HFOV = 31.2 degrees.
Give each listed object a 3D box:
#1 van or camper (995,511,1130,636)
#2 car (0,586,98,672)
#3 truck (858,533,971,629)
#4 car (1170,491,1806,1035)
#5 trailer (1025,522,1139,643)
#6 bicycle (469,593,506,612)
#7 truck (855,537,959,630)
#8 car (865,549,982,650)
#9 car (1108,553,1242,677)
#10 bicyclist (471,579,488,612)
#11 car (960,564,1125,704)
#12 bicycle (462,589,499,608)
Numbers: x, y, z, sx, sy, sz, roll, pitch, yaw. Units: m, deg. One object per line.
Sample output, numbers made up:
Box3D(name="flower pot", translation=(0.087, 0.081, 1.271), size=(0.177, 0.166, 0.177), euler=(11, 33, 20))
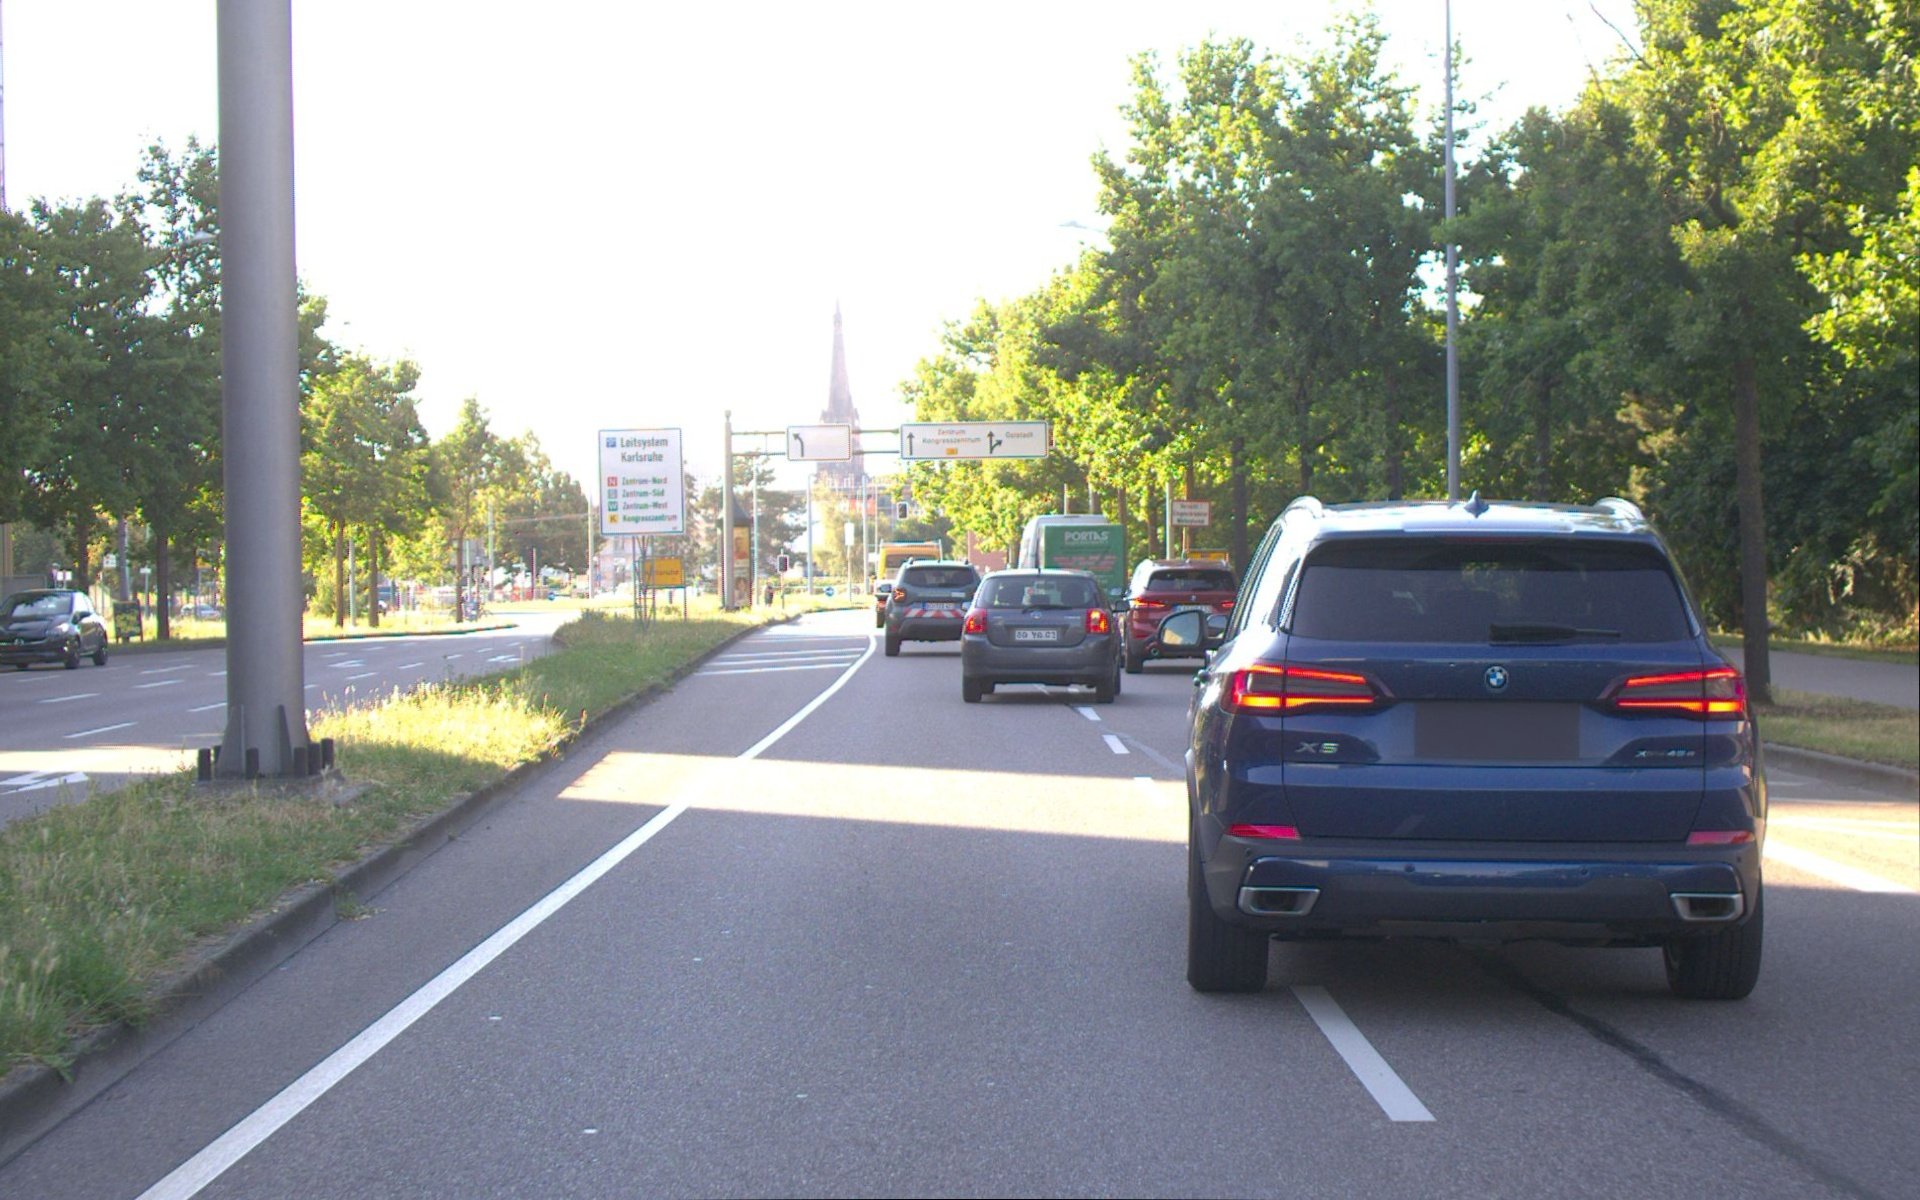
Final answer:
Box3D(name="van or camper", translation=(2.214, -0.593, 76.122), size=(2.284, 2.620, 6.584), euler=(0, 0, -4))
Box3D(name="car", translation=(-17.073, 0.508, 63.735), size=(1.595, 1.507, 3.868), euler=(-1, 1, -6))
Box3D(name="truck", translation=(-1.264, -0.557, 97.862), size=(2.221, 2.642, 4.771), euler=(-1, 0, 11))
Box3D(name="car", translation=(1.824, 0.524, 13.308), size=(1.955, 1.721, 4.699), euler=(0, 0, 3))
Box3D(name="trailer", translation=(2.458, -0.354, 70.123), size=(2.090, 2.392, 3.501), euler=(1, 0, -2))
Box3D(name="bicycle", translation=(-25.557, 0.147, 186.065), size=(1.909, 1.016, 0.504), euler=(0, 0, 9))
Box3D(name="truck", translation=(-1.563, -0.483, 98.774), size=(2.580, 2.549, 6.252), euler=(-1, 0, -4))
Box3D(name="car", translation=(-0.615, -0.012, 59.065), size=(1.905, 1.654, 4.000), euler=(-1, 0, 0))
Box3D(name="car", translation=(3.036, 0.179, 49.187), size=(1.747, 1.615, 3.820), euler=(1, 2, 1))
Box3D(name="bicyclist", translation=(-25.895, -0.227, 185.272), size=(0.813, 1.764, 0.496), euler=(1, 0, 13))
Box3D(name="car", translation=(0.924, 0.350, 38.760), size=(1.747, 1.468, 3.819), euler=(-1, 0, 1))
Box3D(name="bicycle", translation=(-25.831, -0.088, 185.271), size=(1.909, 1.016, 0.504), euler=(0, 0, 14))
